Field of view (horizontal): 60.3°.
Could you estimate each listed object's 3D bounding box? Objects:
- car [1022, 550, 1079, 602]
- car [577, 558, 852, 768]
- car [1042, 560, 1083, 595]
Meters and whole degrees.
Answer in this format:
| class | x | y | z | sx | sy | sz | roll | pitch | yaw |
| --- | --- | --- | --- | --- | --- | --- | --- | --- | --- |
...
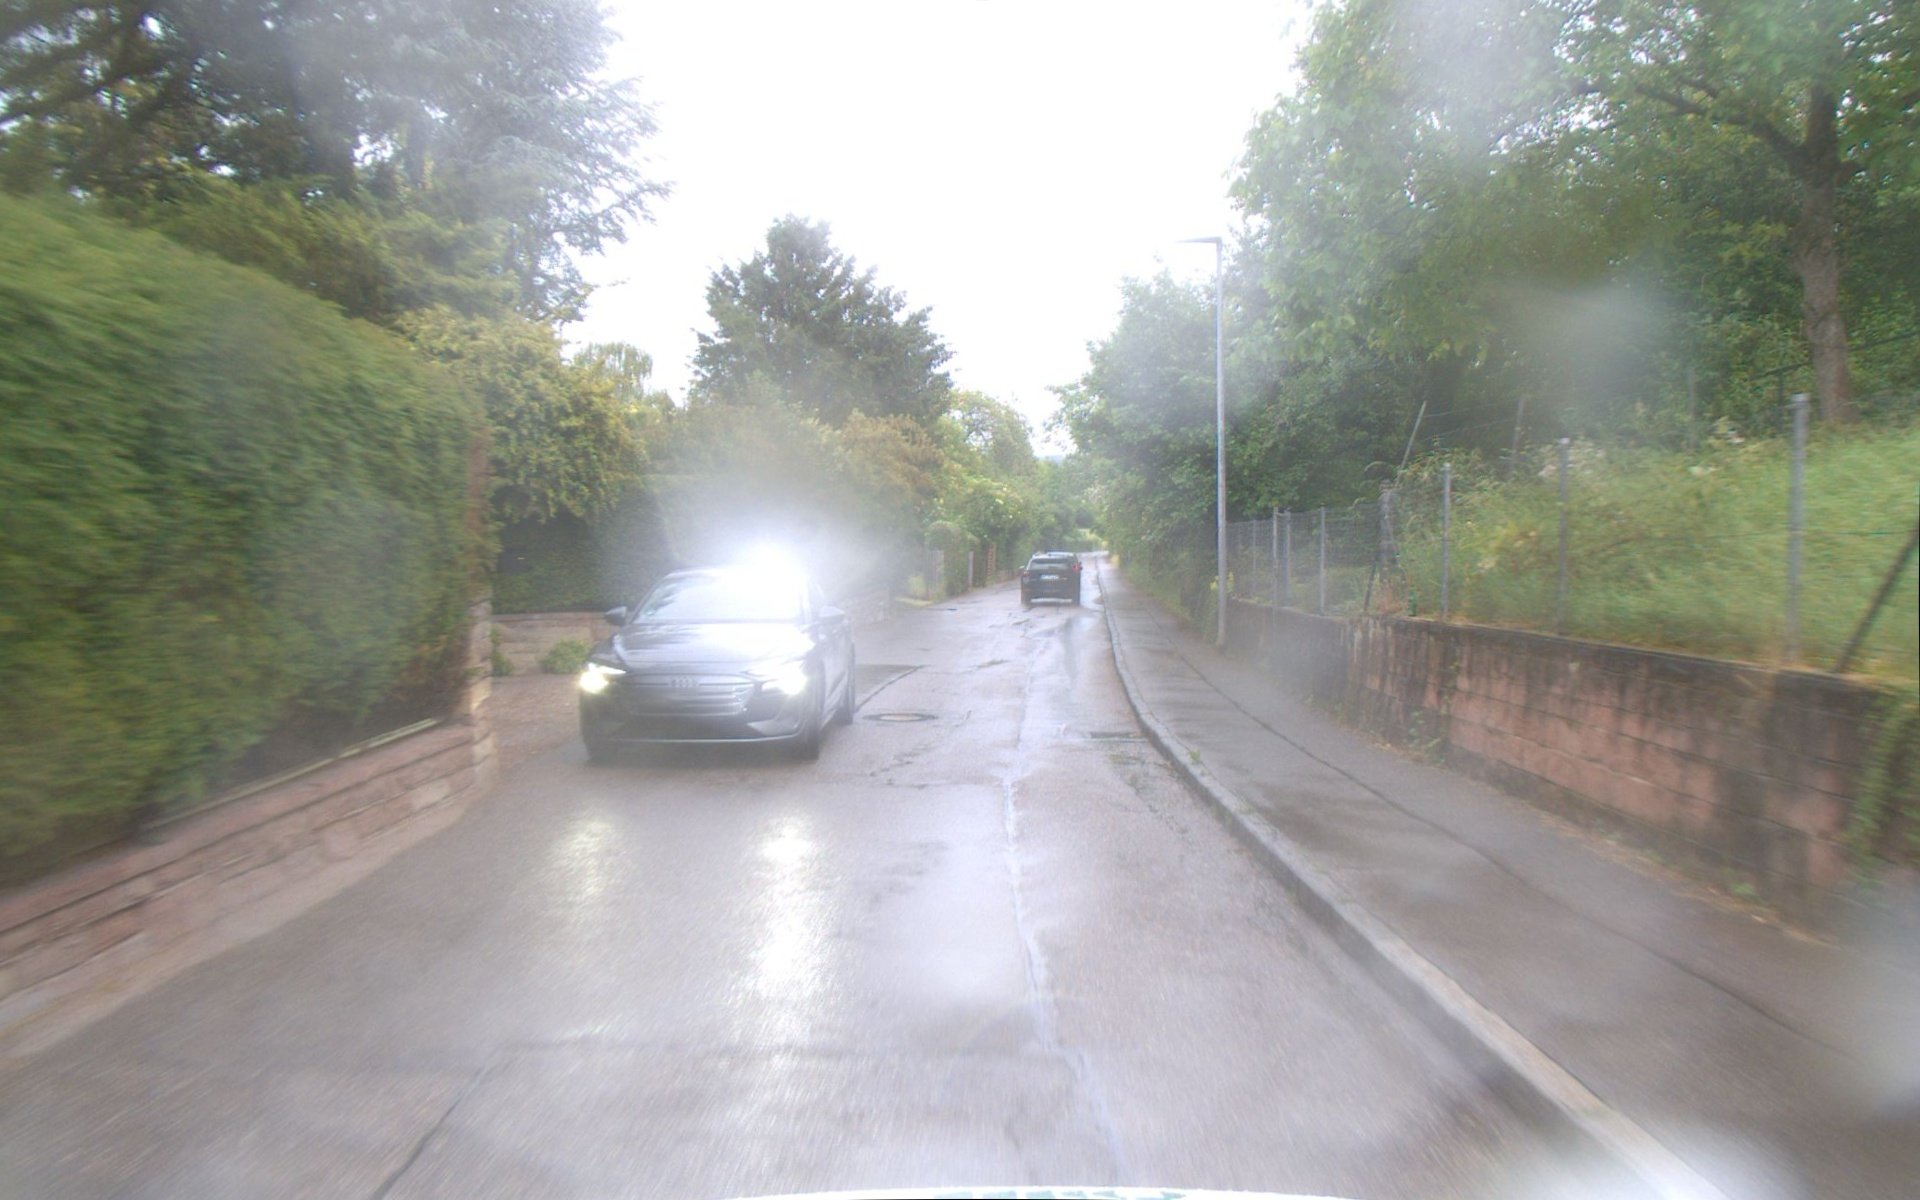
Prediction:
| class | x | y | z | sx | sy | sz | roll | pitch | yaw |
| --- | --- | --- | --- | --- | --- | --- | --- | --- | --- |
| car | 2.727 | -0.701 | 49.313 | 1.600 | 1.475 | 3.547 | 0 | 1 | 5 |
| car | -1.967 | 0.434 | 14.506 | 1.850 | 1.550 | 4.421 | 0 | 1 | -2 |
| car | 4.344 | -0.952 | 69.951 | 1.600 | 1.438 | 3.547 | 0 | 1 | 5 |
